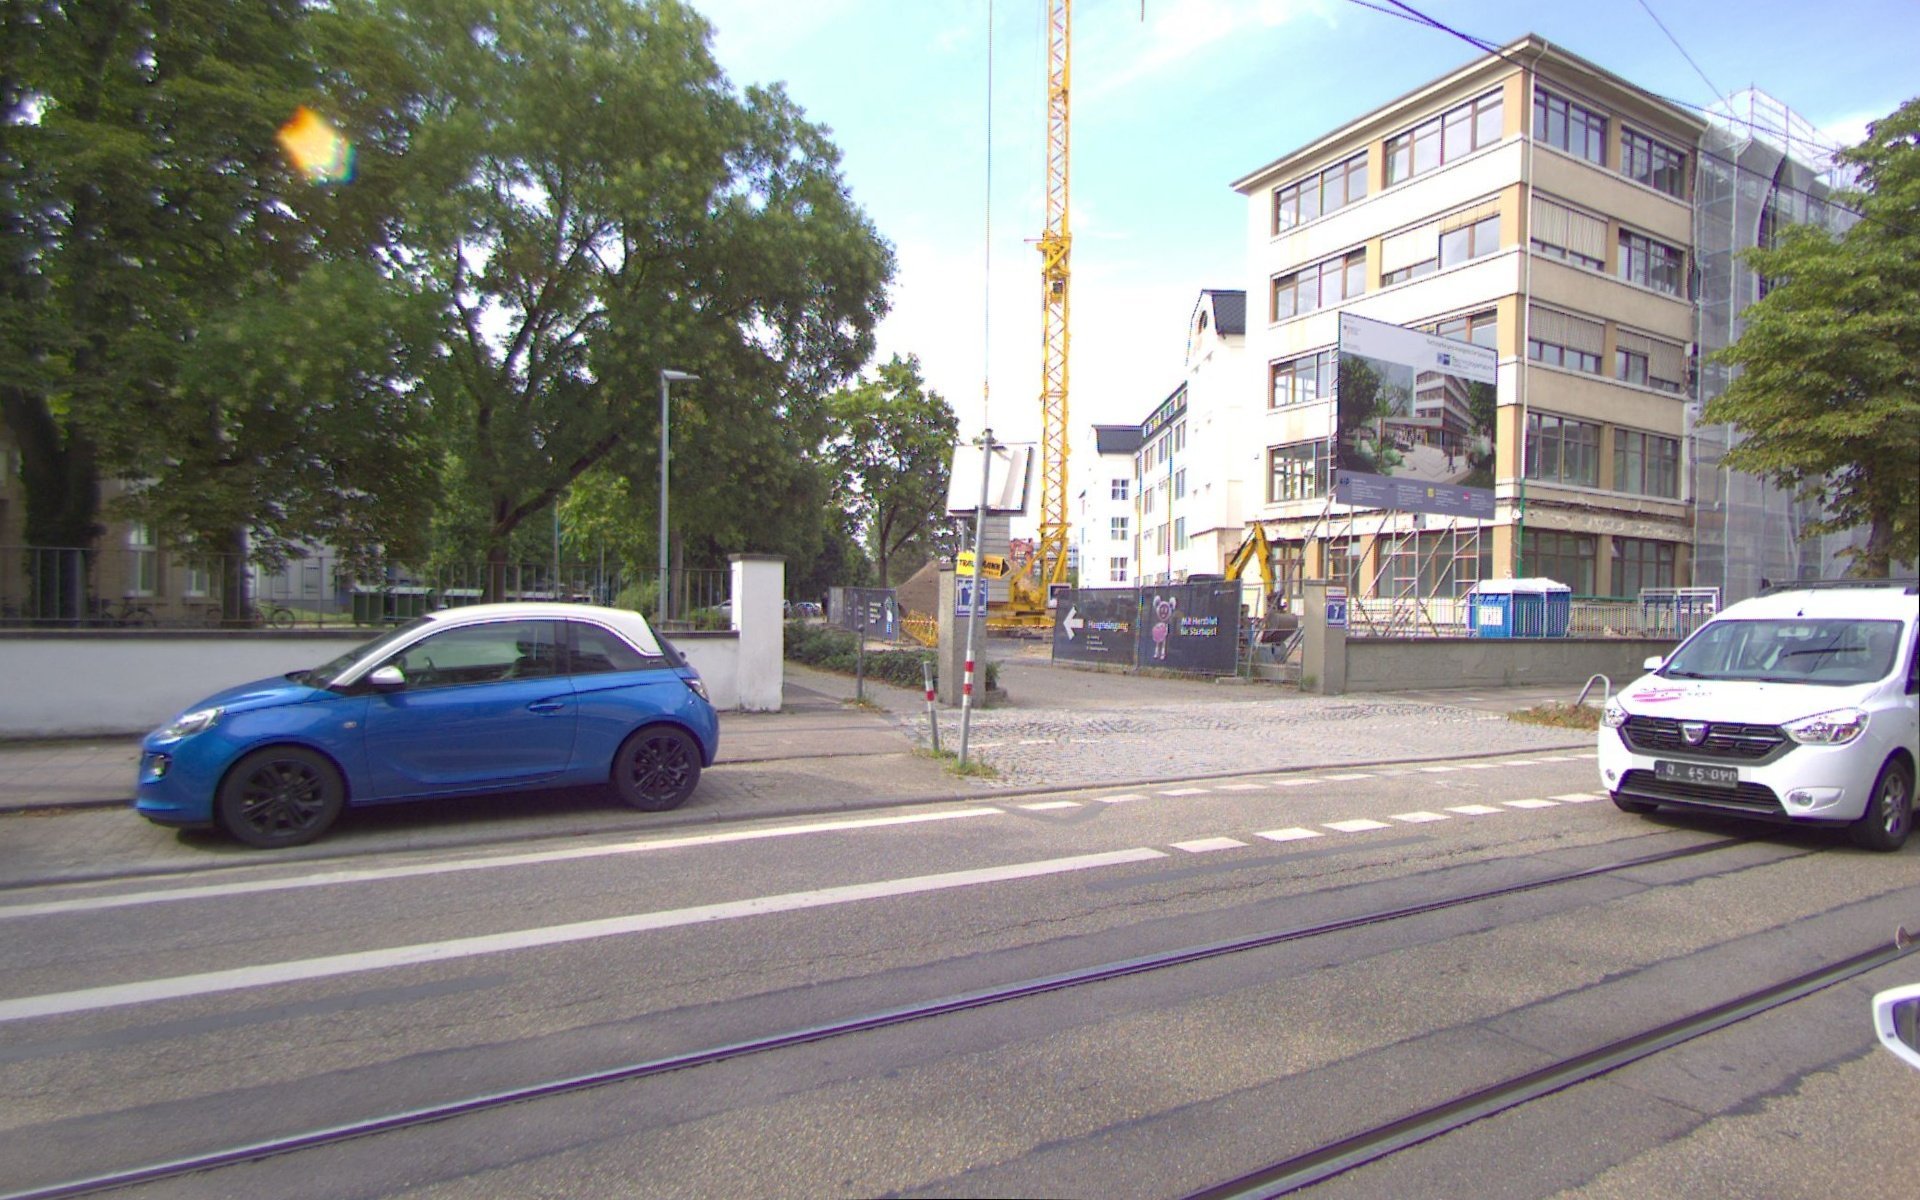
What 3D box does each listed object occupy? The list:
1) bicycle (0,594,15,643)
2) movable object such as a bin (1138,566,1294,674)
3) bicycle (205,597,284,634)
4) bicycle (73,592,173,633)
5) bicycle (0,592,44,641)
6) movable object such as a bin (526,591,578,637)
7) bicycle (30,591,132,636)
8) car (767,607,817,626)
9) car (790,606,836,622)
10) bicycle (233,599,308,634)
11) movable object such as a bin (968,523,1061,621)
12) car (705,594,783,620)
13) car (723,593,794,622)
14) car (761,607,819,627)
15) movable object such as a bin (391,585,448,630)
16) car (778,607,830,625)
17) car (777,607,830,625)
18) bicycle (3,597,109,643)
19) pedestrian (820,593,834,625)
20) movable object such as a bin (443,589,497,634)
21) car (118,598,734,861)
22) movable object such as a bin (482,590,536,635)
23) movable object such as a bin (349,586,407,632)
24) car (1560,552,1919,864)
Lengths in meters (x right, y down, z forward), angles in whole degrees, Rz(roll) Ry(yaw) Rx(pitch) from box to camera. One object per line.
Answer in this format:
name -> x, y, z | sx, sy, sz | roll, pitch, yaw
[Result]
bicycle -> -21.829, 0.387, 21.823 | 1.940, 1.057, 0.594 | 1, 1, -4
movable object such as a bin -> 6.287, 0.486, 24.993 | 2.459, 2.475, 3.048 | 2, 0, -19
bicycle -> -22.075, 0.471, 31.003 | 1.940, 1.057, 0.594 | 1, 1, -4
bicycle -> -22.342, 0.333, 26.868 | 1.953, 1.057, 0.590 | 1, 1, -28
bicycle -> -21.912, 0.357, 22.603 | 1.940, 1.057, 0.594 | 1, 1, -4
movable object such as a bin -> -13.578, 0.463, 33.474 | 1.259, 1.449, 1.122 | 2, 0, -2
bicycle -> -21.940, 0.334, 25.085 | 1.940, 1.057, 0.594 | 1, 1, -4
car -> -14.773, 1.476, 88.660 | 4.268, 1.564, 1.751 | 2, 0, -8
car -> -15.493, 1.478, 105.880 | 4.719, 1.508, 1.997 | 2, 0, -8
bicycle -> -22.195, 0.522, 32.358 | 1.940, 1.057, 0.594 | 1, 1, -4
movable object such as a bin -> 4.264, -1.865, 75.041 | 3.781, 6.758, 10.988 | 2, 0, 20
car -> -13.821, 0.456, 64.605 | 4.719, 1.508, 1.997 | 2, 0, -8
car -> -15.171, 0.575, 75.896 | 4.965, 1.979, 1.999 | 2, 0, -4
car -> -14.528, 1.446, 85.996 | 4.719, 1.508, 1.997 | 2, 0, -8
movable object such as a bin -> -18.007, 0.249, 33.513 | 1.259, 1.449, 1.122 | 2, 0, -2
car -> -14.684, 1.523, 94.807 | 4.719, 1.508, 1.997 | 2, 0, -8
car -> -14.301, 1.483, 91.982 | 4.719, 1.508, 1.997 | 2, 0, -8
bicycle -> -21.855, 0.481, 24.305 | 1.940, 1.057, 0.594 | 1, 1, -4
pedestrian -> -7.619, 0.531, 57.623 | 0.736, 1.813, 0.730 | 2, 0, -7
movable object such as a bin -> -16.434, 0.388, 33.712 | 1.259, 1.449, 1.122 | 2, 0, -2
car -> -3.633, 0.764, 7.311 | 3.560, 1.484, 1.620 | 1, 0, -30
movable object such as a bin -> -15.096, 0.429, 33.639 | 1.259, 1.449, 1.122 | 2, 0, -2
movable object such as a bin -> -19.370, 0.298, 33.449 | 1.259, 1.449, 1.122 | 2, 0, -2
car -> 6.890, 0.690, 7.966 | 4.325, 1.909, 1.724 | 1, 0, -29
